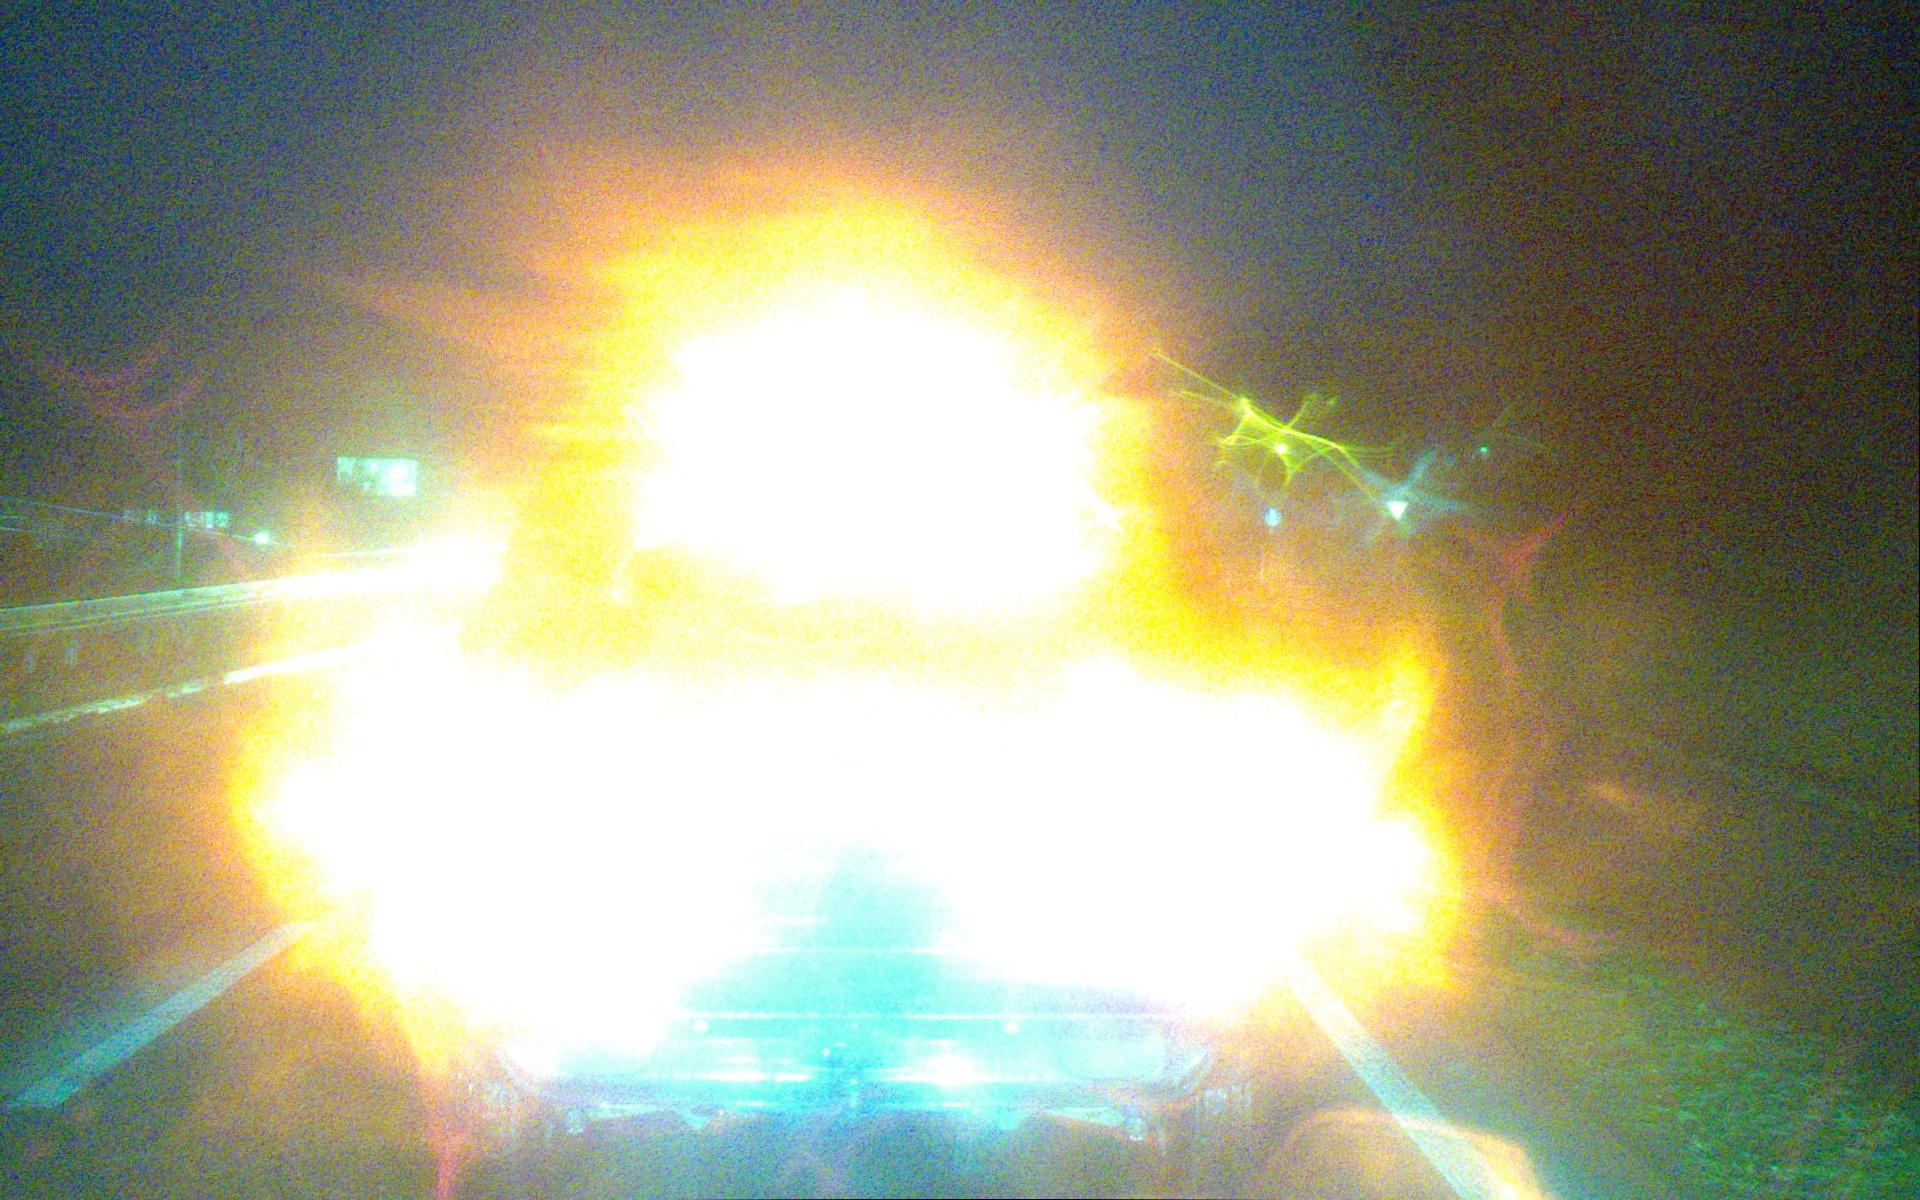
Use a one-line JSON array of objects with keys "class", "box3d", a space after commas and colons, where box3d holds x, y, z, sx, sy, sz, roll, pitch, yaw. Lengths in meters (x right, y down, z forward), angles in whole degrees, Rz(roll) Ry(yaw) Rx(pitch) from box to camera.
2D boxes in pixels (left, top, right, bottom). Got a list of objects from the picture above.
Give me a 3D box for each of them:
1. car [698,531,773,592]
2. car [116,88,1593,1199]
[{"class": "car", "box3d": [-5.642, -0.988, 86.732, 1.544, 1.505, 3.880, 1, 1, 1]}, {"class": "car", "box3d": [-0.241, 0.145, 9.404, 2.715, 2.299, 6.101, 0, 1, -1]}]
